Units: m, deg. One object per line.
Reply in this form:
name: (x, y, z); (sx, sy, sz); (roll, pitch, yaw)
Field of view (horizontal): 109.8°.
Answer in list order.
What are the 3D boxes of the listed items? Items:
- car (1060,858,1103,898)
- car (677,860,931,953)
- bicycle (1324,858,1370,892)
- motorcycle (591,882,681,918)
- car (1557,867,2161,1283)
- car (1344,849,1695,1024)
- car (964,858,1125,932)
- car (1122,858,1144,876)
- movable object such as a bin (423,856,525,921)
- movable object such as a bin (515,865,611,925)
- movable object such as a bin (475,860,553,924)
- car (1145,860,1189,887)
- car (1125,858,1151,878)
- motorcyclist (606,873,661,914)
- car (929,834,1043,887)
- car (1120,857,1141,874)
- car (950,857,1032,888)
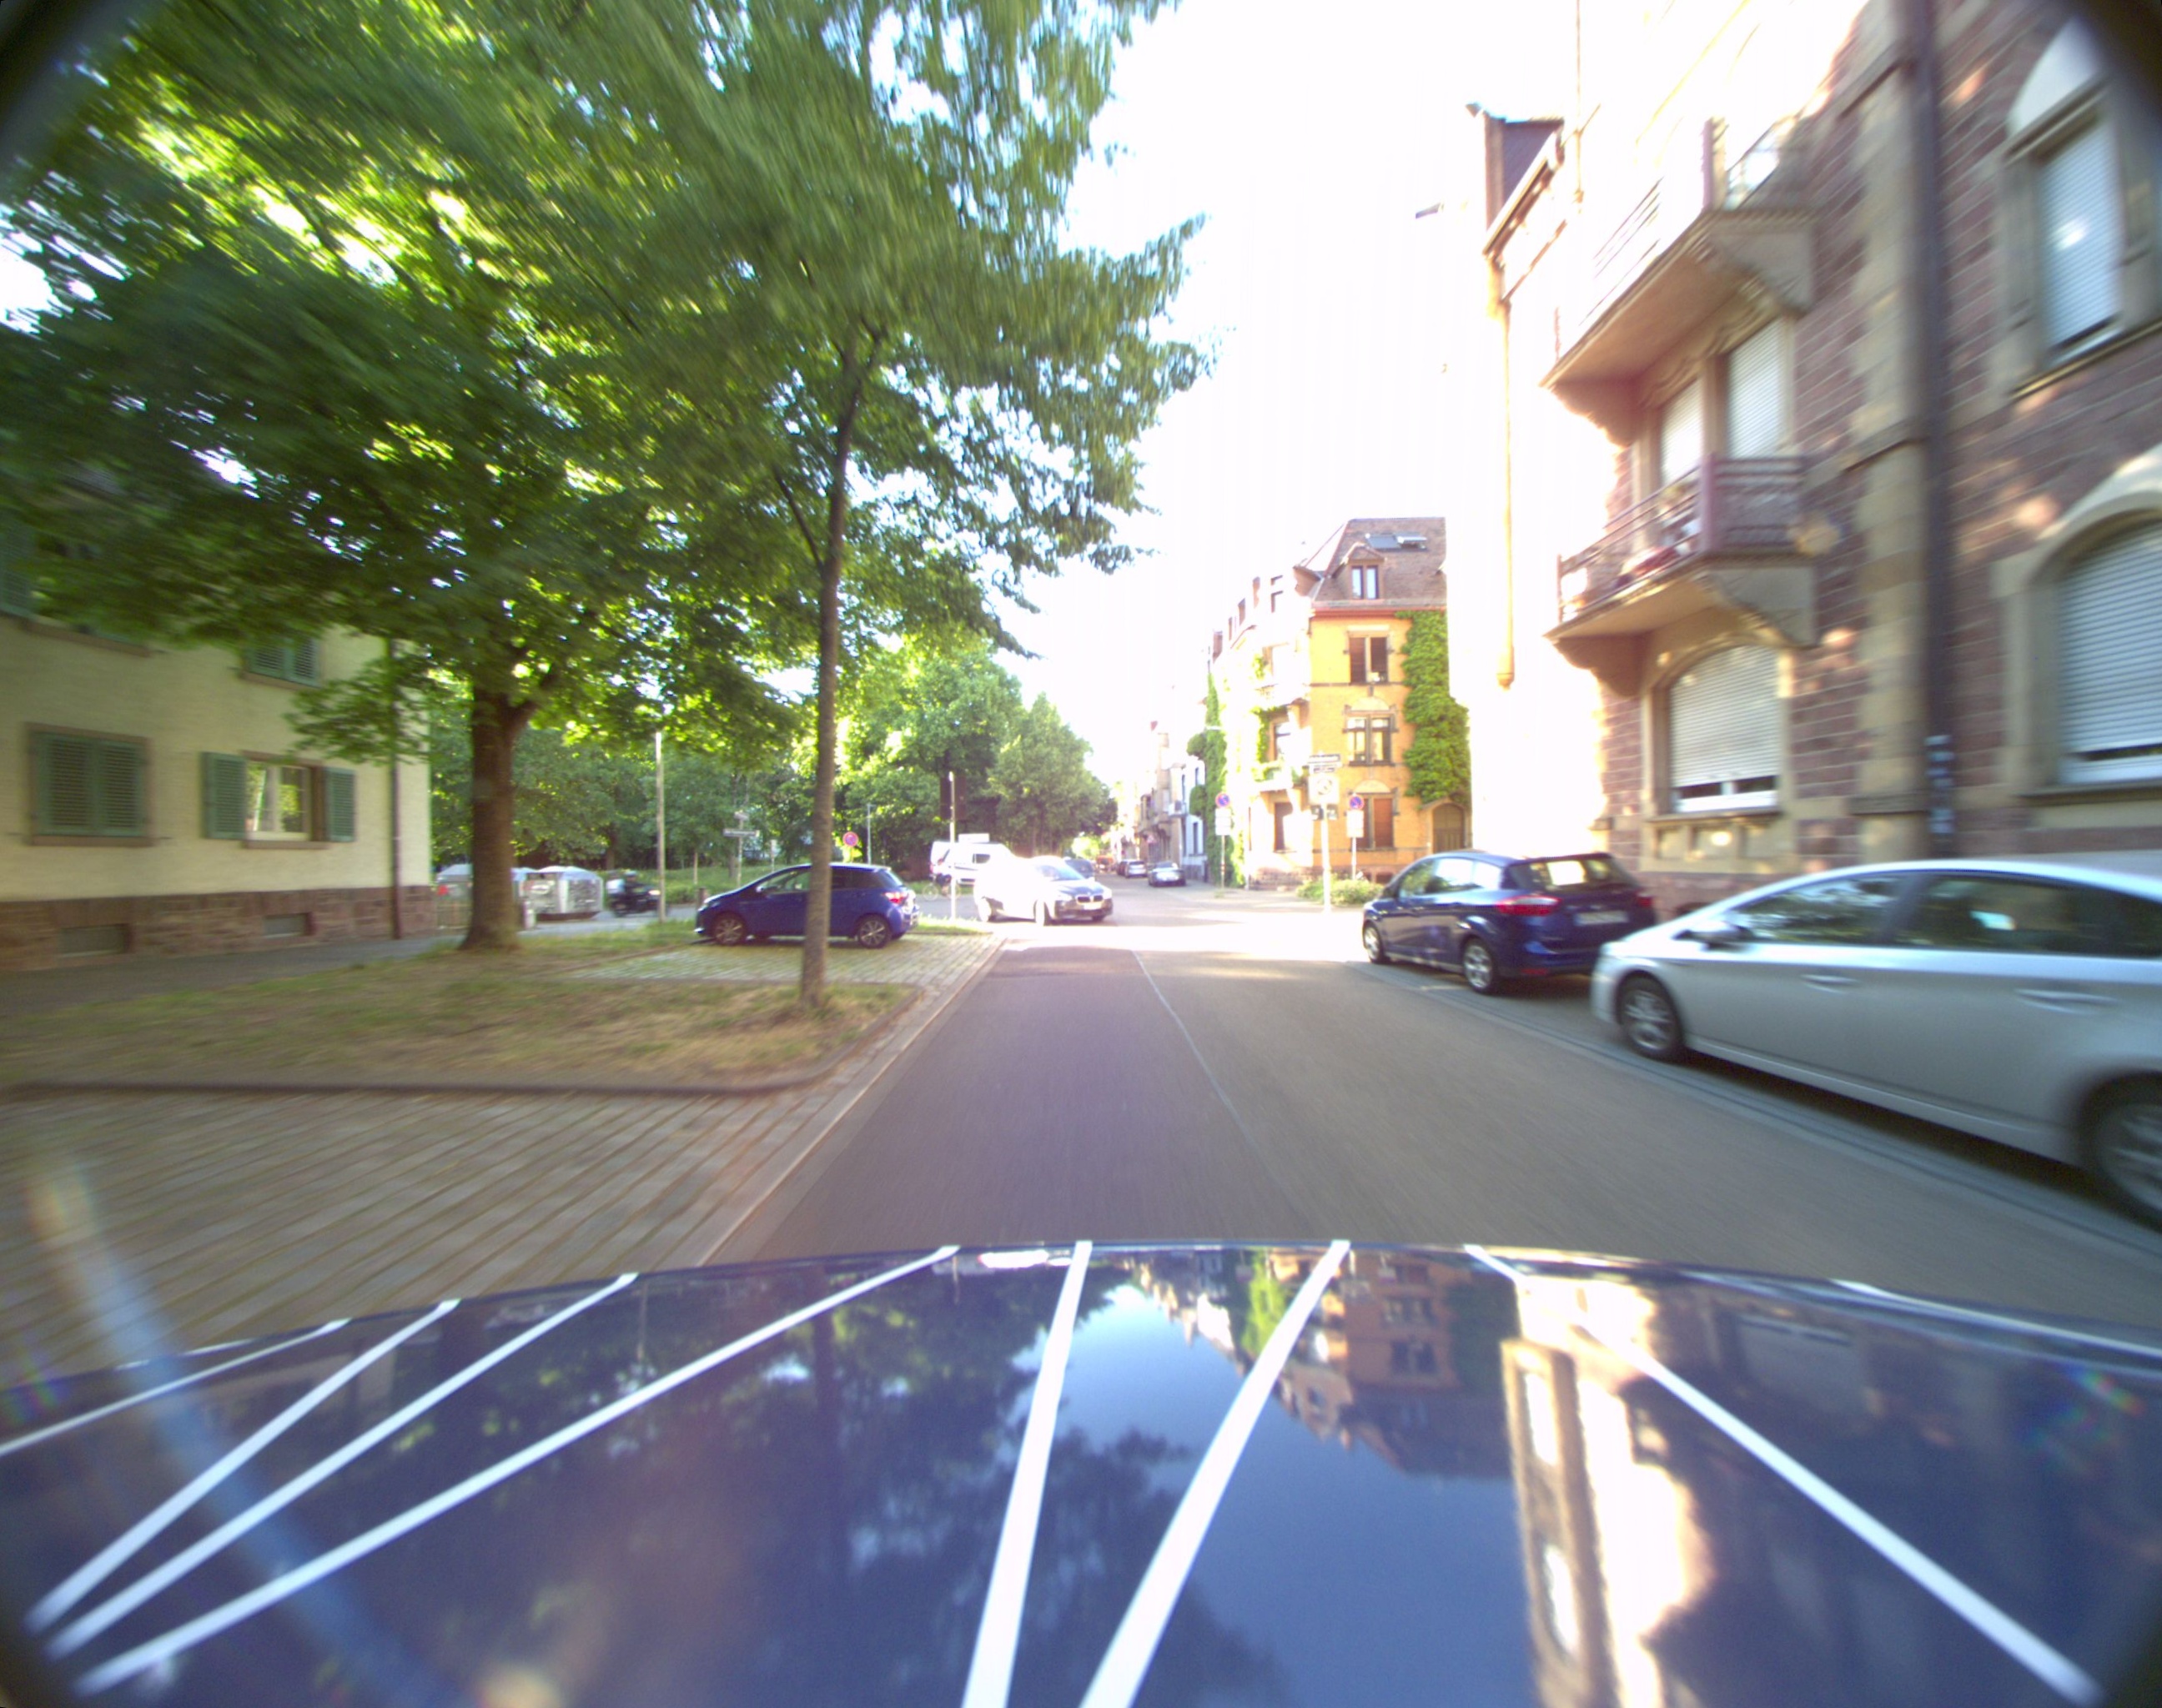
car: (-0.023, 0.984, 32.824); (1.649, 1.581, 4.019); (-2, 0, -1)
car: (-4.974, 0.919, 14.135); (3.998, 1.546, 1.999); (0, 1, -2)
bicycle: (10.275, 0.802, 29.365); (1.600, 1.261, 0.565); (-1, 0, 9)
motorcycle: (-15.141, 1.561, 25.886); (2.516, 1.095, 0.987); (-1, 0, 6)
car: (4.930, 0.872, 4.122); (1.734, 1.490, 4.454); (-2, 0, -2)
car: (4.978, 0.813, 9.462); (1.734, 1.612, 4.258); (-2, 0, -2)
car: (-1.076, 0.982, 19.535); (1.894, 1.612, 4.607); (-2, 0, -36)
car: (5.096, 1.238, 74.824); (1.998, 1.616, 4.143); (-1, 1, 1)
movable object such as a bin: (-18.229, 1.003, 22.890); (1.392, 1.843, 1.927); (-1, 1, 7)
movable object such as a bin: (-15.243, 1.183, 22.428); (1.638, 1.648, 1.592); (-1, 1, 7)
movable object such as a bin: (-16.790, 1.101, 22.526); (1.384, 1.817, 1.151); (-1, 1, 7)
car: (4.992, 1.097, 44.666); (1.882, 1.396, 4.925); (-3, 0, -1)
car: (4.949, 1.171, 66.035); (1.867, 1.537, 3.792); (-1, 1, -1)
motorcyclist: (-15.239, 1.337, 25.914); (1.226, 1.333, 0.987); (-1, 0, 6)
car: (-4.871, 0.295, 39.602); (5.628, 2.599, 2.238); (-1, 1, -1)
car: (5.146, 1.149, 79.510); (1.998, 1.616, 4.143); (-1, 1, 1)
car: (-4.965, 1.004, 42.316); (4.297, 1.566, 1.978); (-1, 1, -1)
